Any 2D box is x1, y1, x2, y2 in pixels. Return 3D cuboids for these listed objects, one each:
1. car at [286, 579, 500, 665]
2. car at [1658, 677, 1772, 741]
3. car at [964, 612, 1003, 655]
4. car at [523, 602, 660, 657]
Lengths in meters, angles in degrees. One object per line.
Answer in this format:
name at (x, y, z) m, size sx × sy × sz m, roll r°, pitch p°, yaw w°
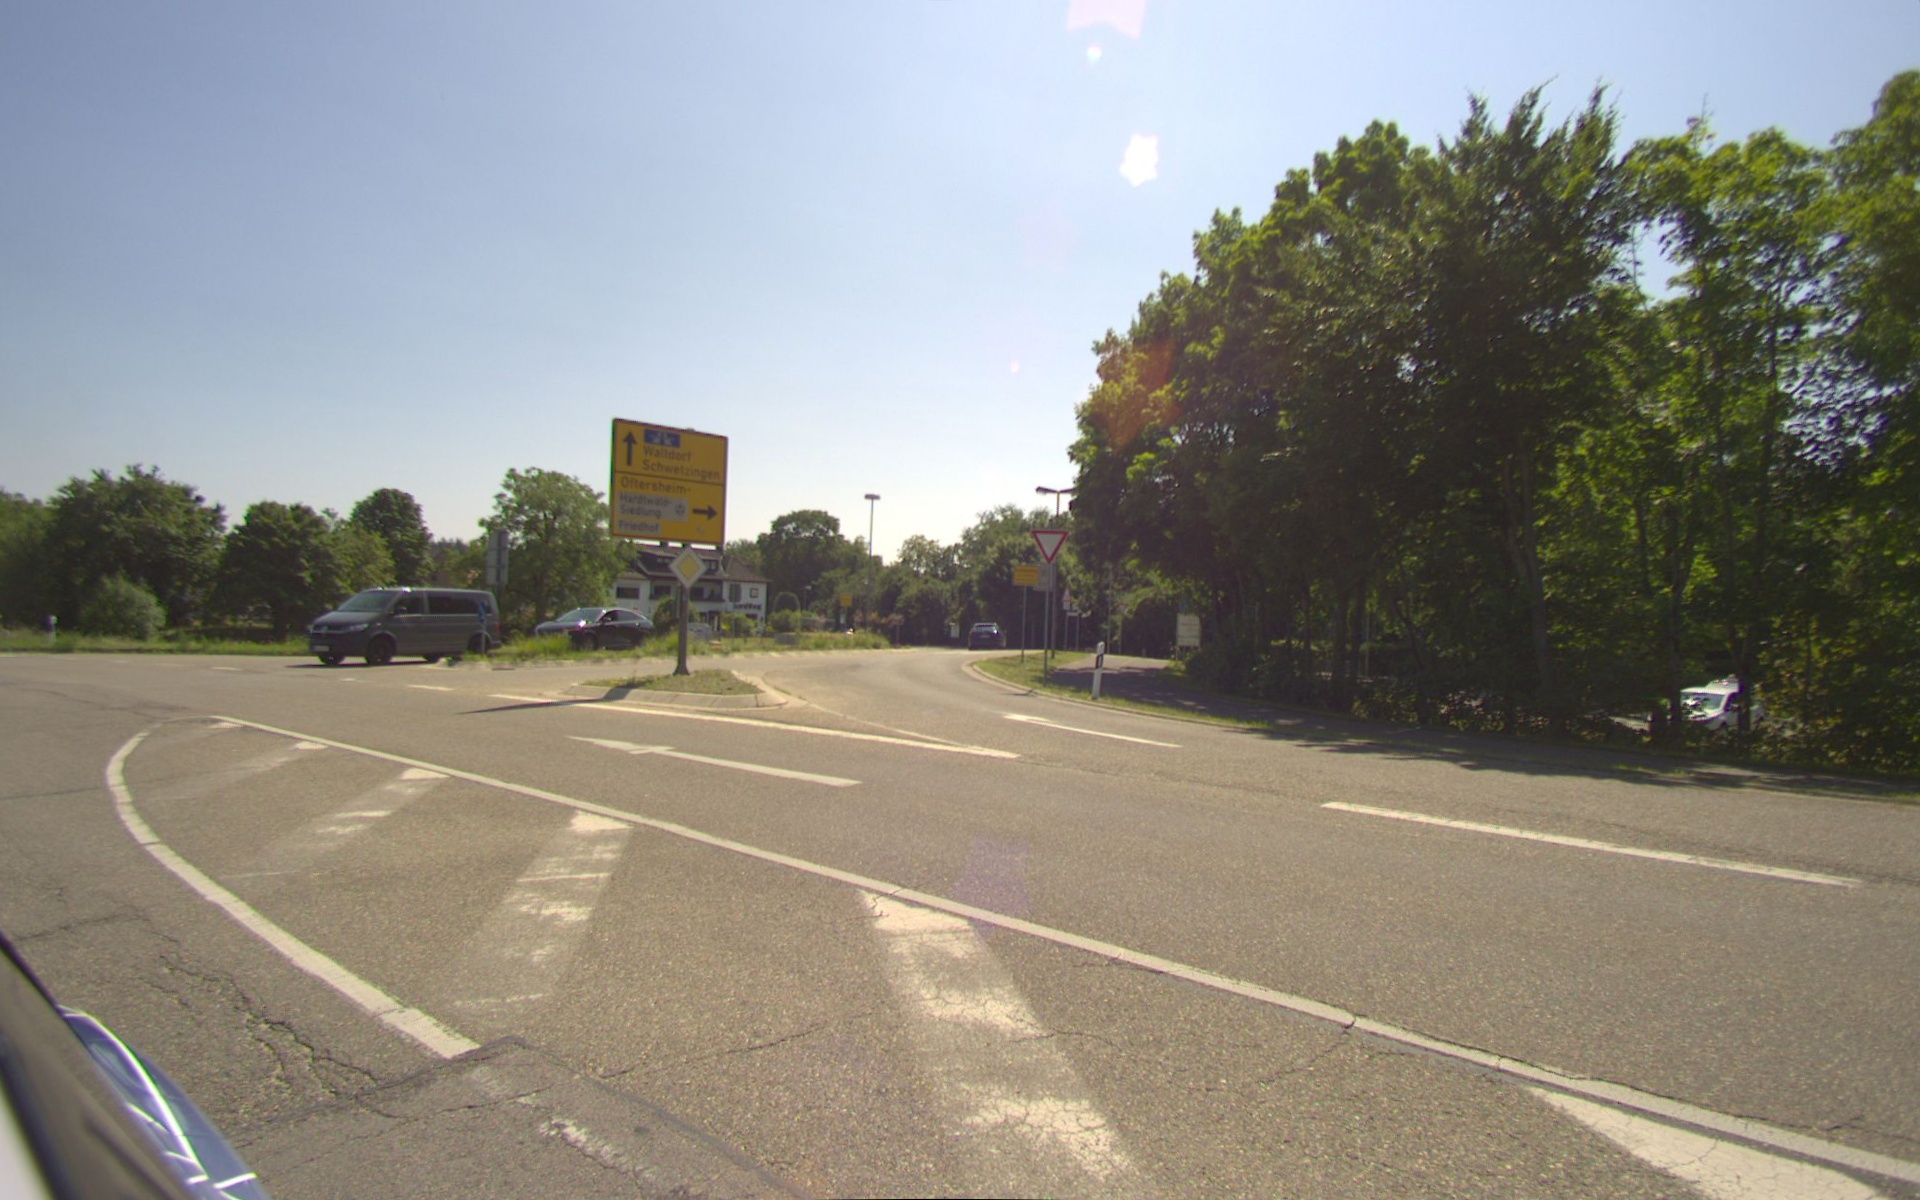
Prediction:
car at (-14.578, 0.572, 26.371) m, size 1.985 × 2.029 × 4.733 m, roll -1°, pitch -1°, yaw 20°
car at (21.736, 3.063, 29.101) m, size 4.053 × 1.504 × 1.758 m, roll 2°, pitch -1°, yaw -41°
car at (1.189, 1.691, 52.338) m, size 1.972 × 2.029 × 3.999 m, roll 0°, pitch 0°, yaw 1°
car at (-11.857, 0.953, 32.873) m, size 1.737 × 1.658 × 4.343 m, roll -1°, pitch -2°, yaw 22°
